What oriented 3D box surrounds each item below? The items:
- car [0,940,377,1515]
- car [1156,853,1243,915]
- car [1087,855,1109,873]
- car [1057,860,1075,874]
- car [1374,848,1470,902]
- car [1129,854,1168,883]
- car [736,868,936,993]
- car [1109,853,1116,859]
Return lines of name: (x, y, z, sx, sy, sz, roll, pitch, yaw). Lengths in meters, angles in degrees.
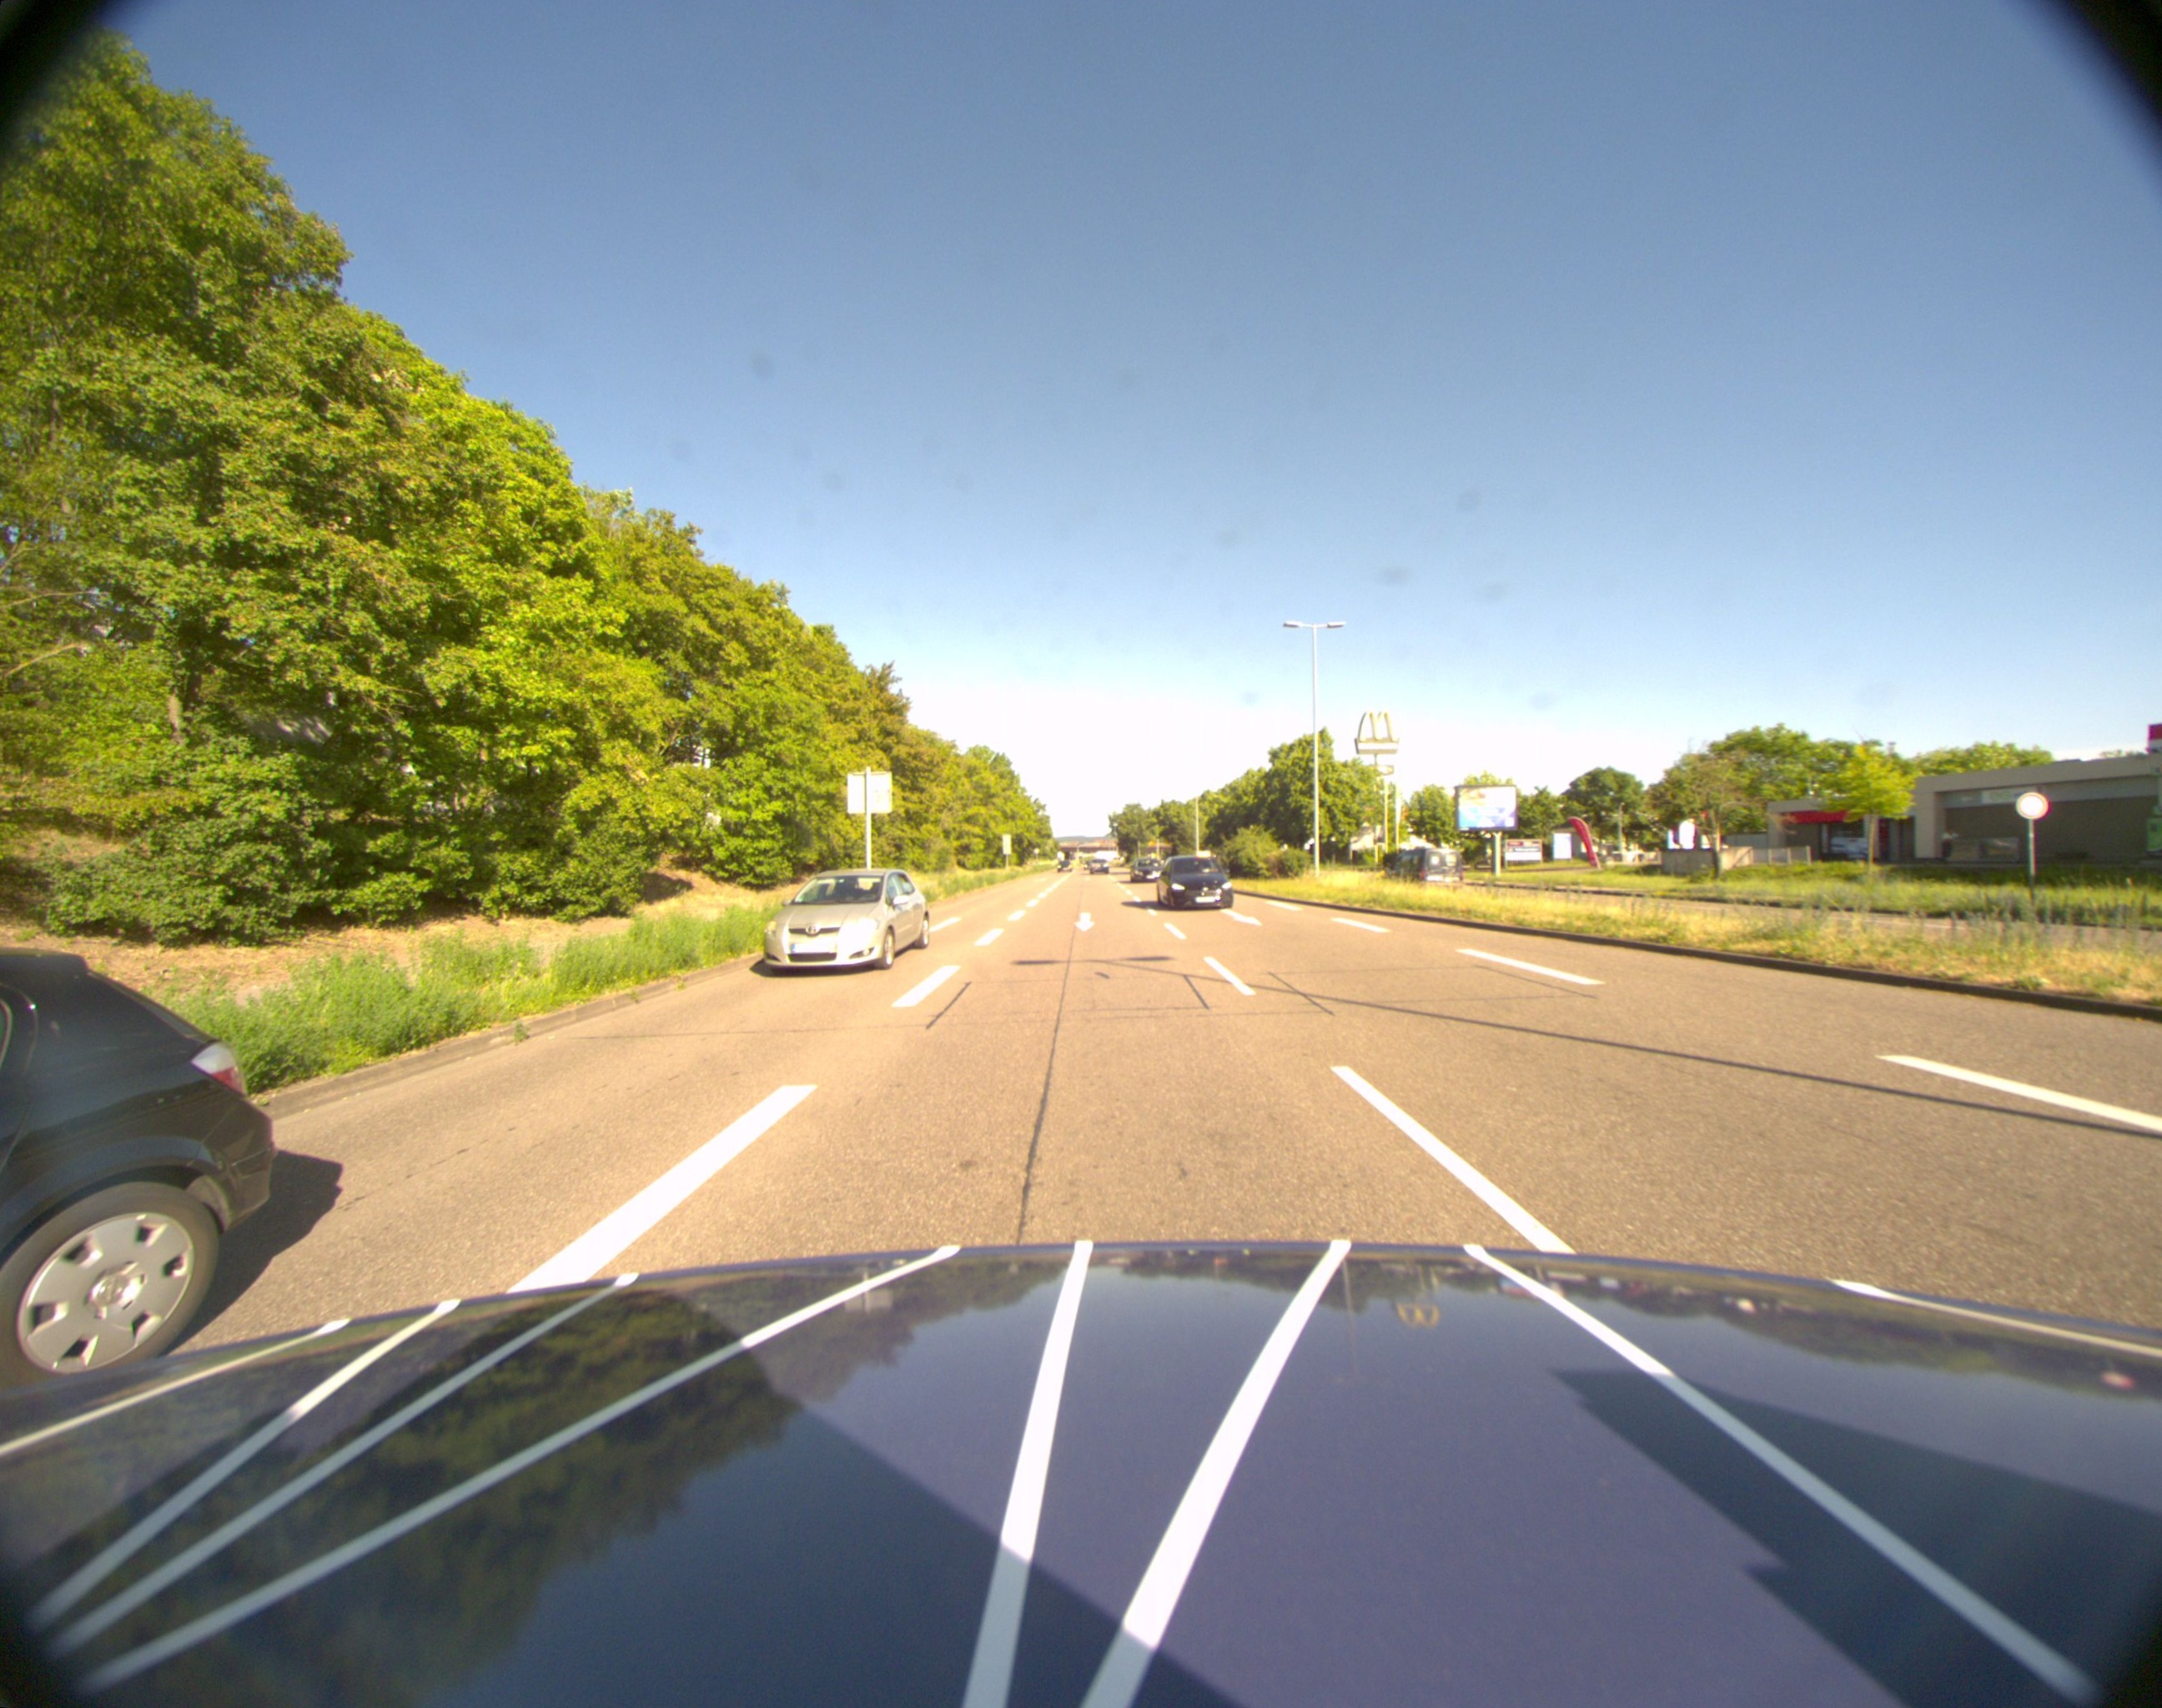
car: (-3.841, 1.117, 0.958, 1.738, 1.433, 4.371, -2, 0, 1)
car: (3.348, 0.795, 22.320, 1.788, 1.592, 4.583, -2, 0, 0)
car: (1.657, 0.942, 74.664, 2.025, 1.601, 4.098, -2, 0, 1)
car: (-1.795, 1.609, 93.928, 2.036, 1.601, 4.098, -2, 0, 1)
car: (12.906, 0.729, 29.041, 1.682, 1.837, 4.294, -2, 1, 0)
car: (4.017, 0.831, 45.819, 1.953, 1.501, 4.462, -2, 1, 1)
car: (-3.677, 1.070, 12.246, 1.788, 1.528, 4.108, -2, 0, 1)
car: (8.655, 0.593, 208.684, 1.998, 1.433, 4.000, -1, 0, 1)
